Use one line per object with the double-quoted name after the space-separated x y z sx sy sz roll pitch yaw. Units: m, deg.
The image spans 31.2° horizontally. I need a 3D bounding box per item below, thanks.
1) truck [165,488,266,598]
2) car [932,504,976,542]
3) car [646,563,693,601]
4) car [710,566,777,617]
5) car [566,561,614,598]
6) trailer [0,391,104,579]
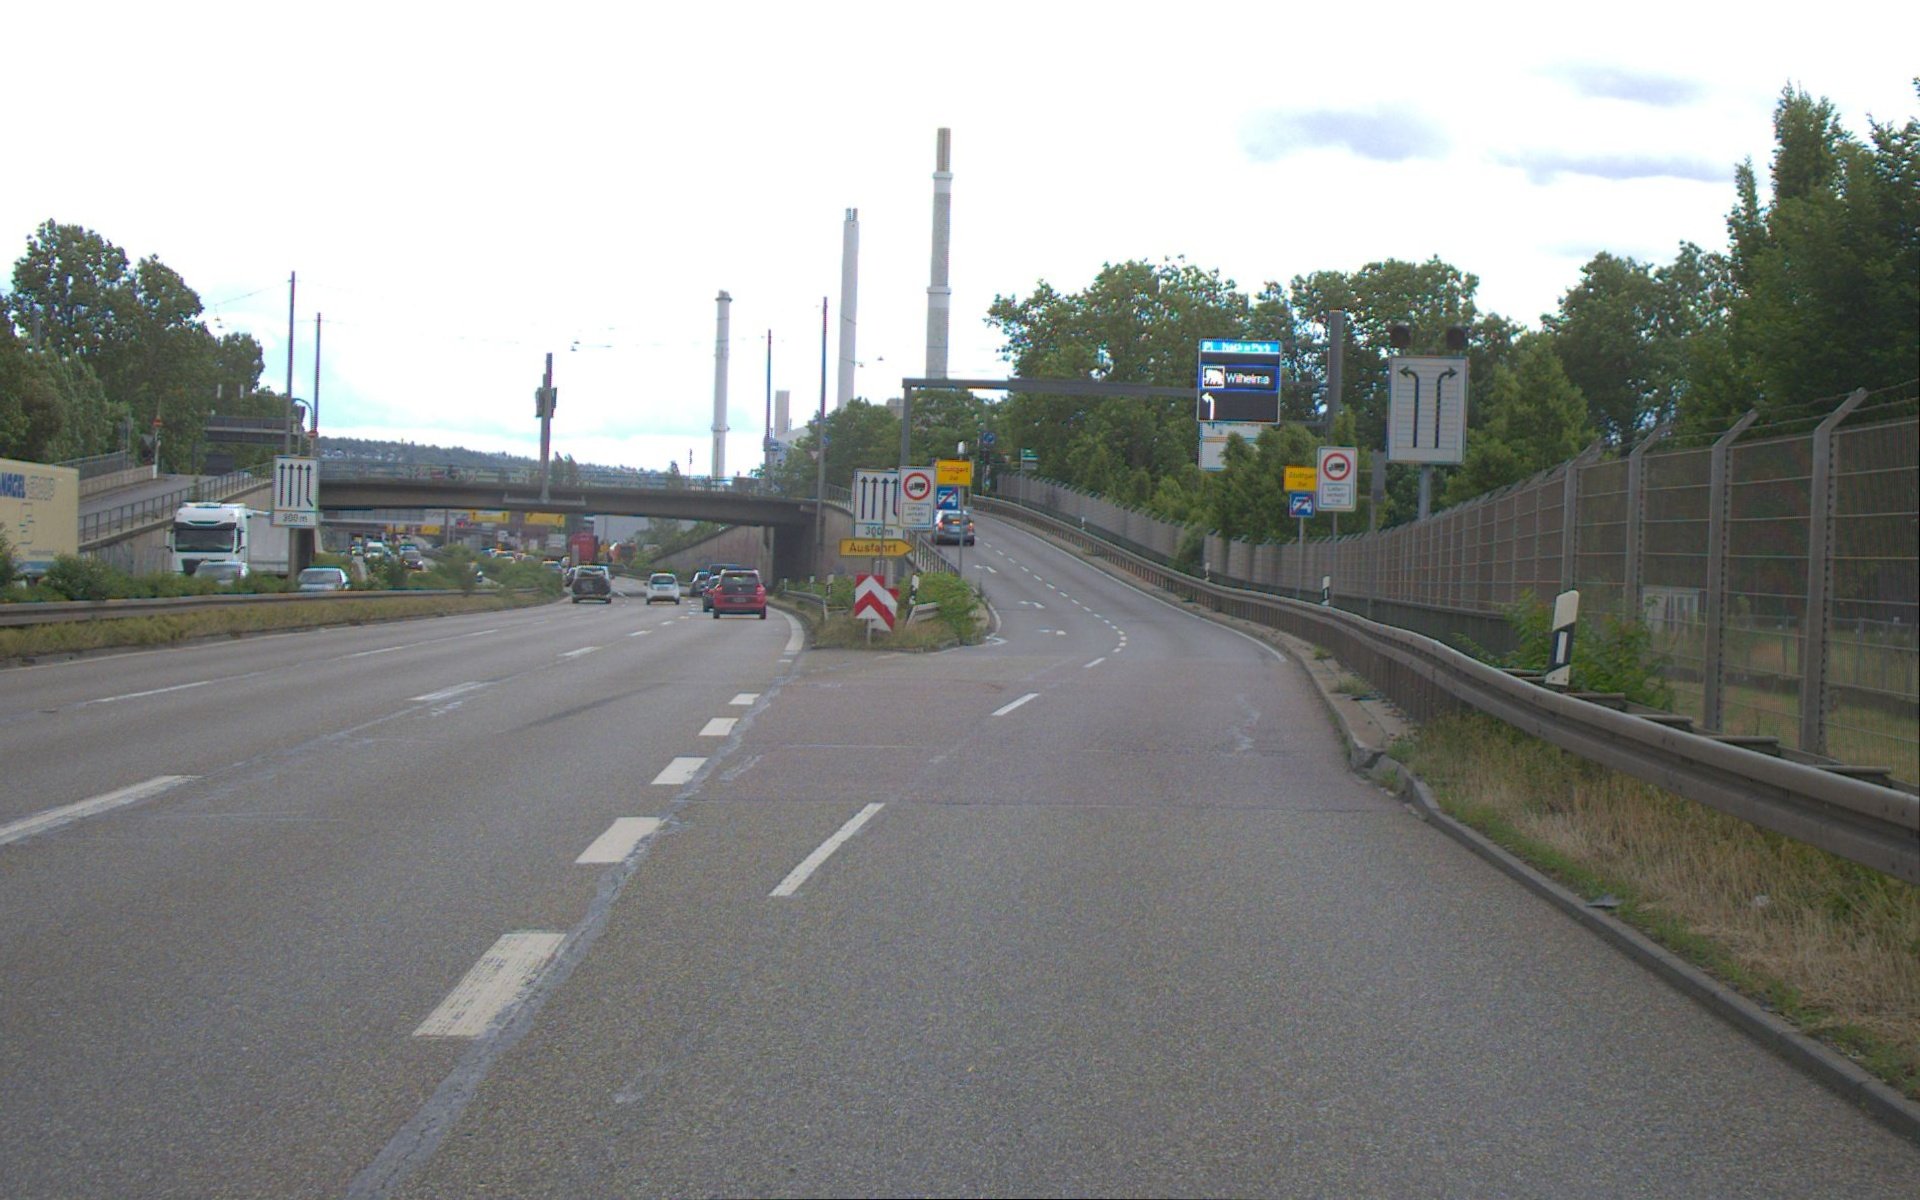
-27.944 -2.123 129.242 2.789 3.924 5.313 2 0 -4 "truck"
-0.246 -3.492 156.140 1.750 1.575 4.085 -4 1 2 "car"
-14.142 -0.906 167.634 1.993 1.678 4.001 2 1 -2 "car"
-6.796 -0.293 107.769 1.993 1.415 4.001 2 2 -4 "car"
-18.346 -1.027 170.419 1.993 1.678 4.001 2 1 -2 "car"
-25.706 -2.958 89.775 3.463 4.657 14.784 2 1 -2 "trailer"
